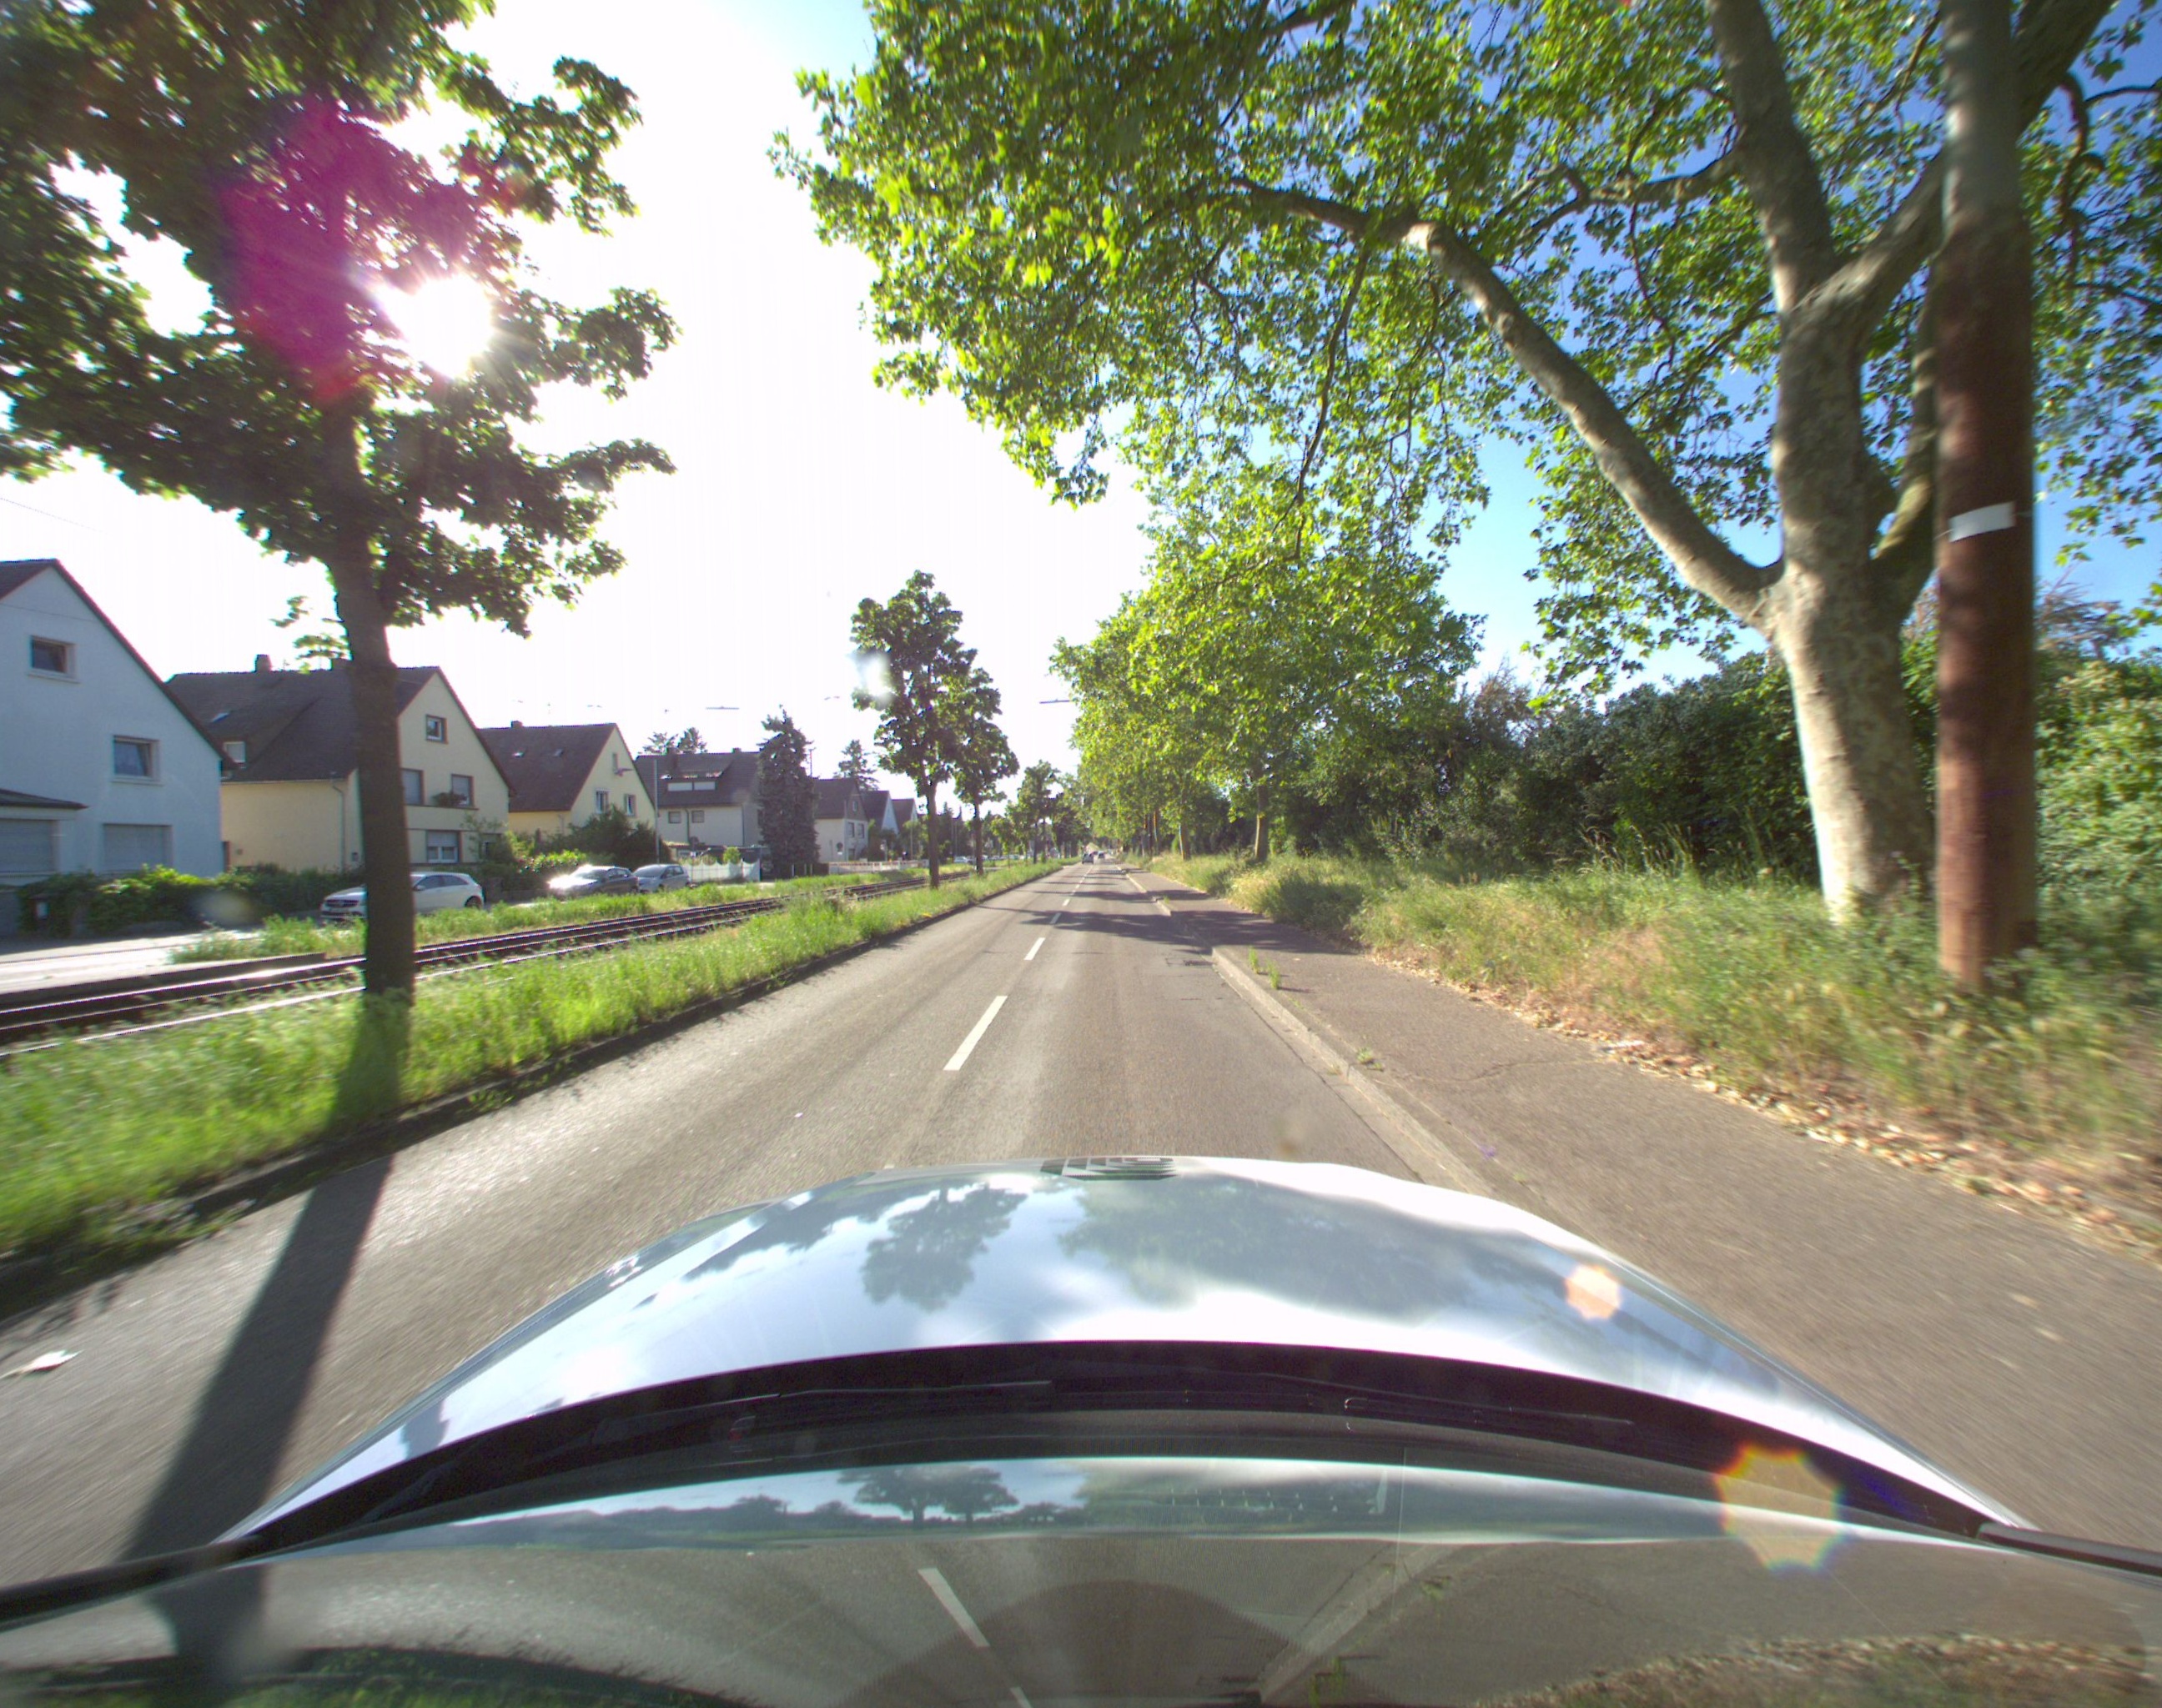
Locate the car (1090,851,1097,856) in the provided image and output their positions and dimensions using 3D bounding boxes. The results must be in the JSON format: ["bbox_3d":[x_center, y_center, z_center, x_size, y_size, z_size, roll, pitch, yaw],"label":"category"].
[{"bbox_3d":[3.831,-0.137,248.095,1.986,1.603,4.474,0,0,1],"label":"car"}]

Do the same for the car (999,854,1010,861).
[{"bbox_3d":[-16.961,0.823,180.195,1.853,1.413,4.159,0,0,1],"label":"car"}]

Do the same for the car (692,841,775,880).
[{"bbox_3d":[-25.324,0.468,59.463,5.011,2.625,2.103,-2,1,1],"label":"car"}]

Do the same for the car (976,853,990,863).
[{"bbox_3d":[-17.138,0.652,142.759,1.742,1.650,4.556,0,0,1],"label":"car"}]

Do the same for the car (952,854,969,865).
[{"bbox_3d":[-18.019,0.823,122.188,1.853,1.542,4.229,0,0,1],"label":"car"}]

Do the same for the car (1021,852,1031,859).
[{"bbox_3d":[-12.197,0.329,181.158,1.986,1.603,4.474,0,0,1],"label":"car"}]

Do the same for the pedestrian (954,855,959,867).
[{"bbox_3d":[-20.224,1.160,132.536,0.678,2.013,0.772,0,0,1],"label":"pedestrian"}]

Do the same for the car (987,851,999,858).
[{"bbox_3d":[-17.495,0.143,161.656,1.853,1.369,4.229,0,0,1],"label":"car"}]

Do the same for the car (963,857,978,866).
[{"bbox_3d":[-17.780,1.180,130.962,1.723,1.466,4.603,0,0,1],"label":"car"}]

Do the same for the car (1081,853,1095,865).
[{"bbox_3d":[0.989,0.609,111.702,1.853,1.601,4.229,0,0,1],"label":"car"}]

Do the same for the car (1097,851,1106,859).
[{"bbox_3d":[4.629,0.210,186.329,1.986,1.603,4.474,0,0,1],"label":"car"}]

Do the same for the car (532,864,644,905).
[{"bbox_3d":[-20.200,1.214,33.621,1.986,1.450,4.129,2,0,1],"label":"car"}]

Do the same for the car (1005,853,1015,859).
[{"bbox_3d":[-16.441,0.490,190.012,1.853,1.431,4.463,0,0,1],"label":"car"}]

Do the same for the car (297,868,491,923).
[{"bbox_3d":[-20.565,1.188,24.699,1.985,1.426,4.414,0,0,3],"label":"car"}]

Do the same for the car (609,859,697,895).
[{"bbox_3d":[-20.076,1.049,38.401,1.940,1.553,4.058,0,0,1],"label":"car"}]
